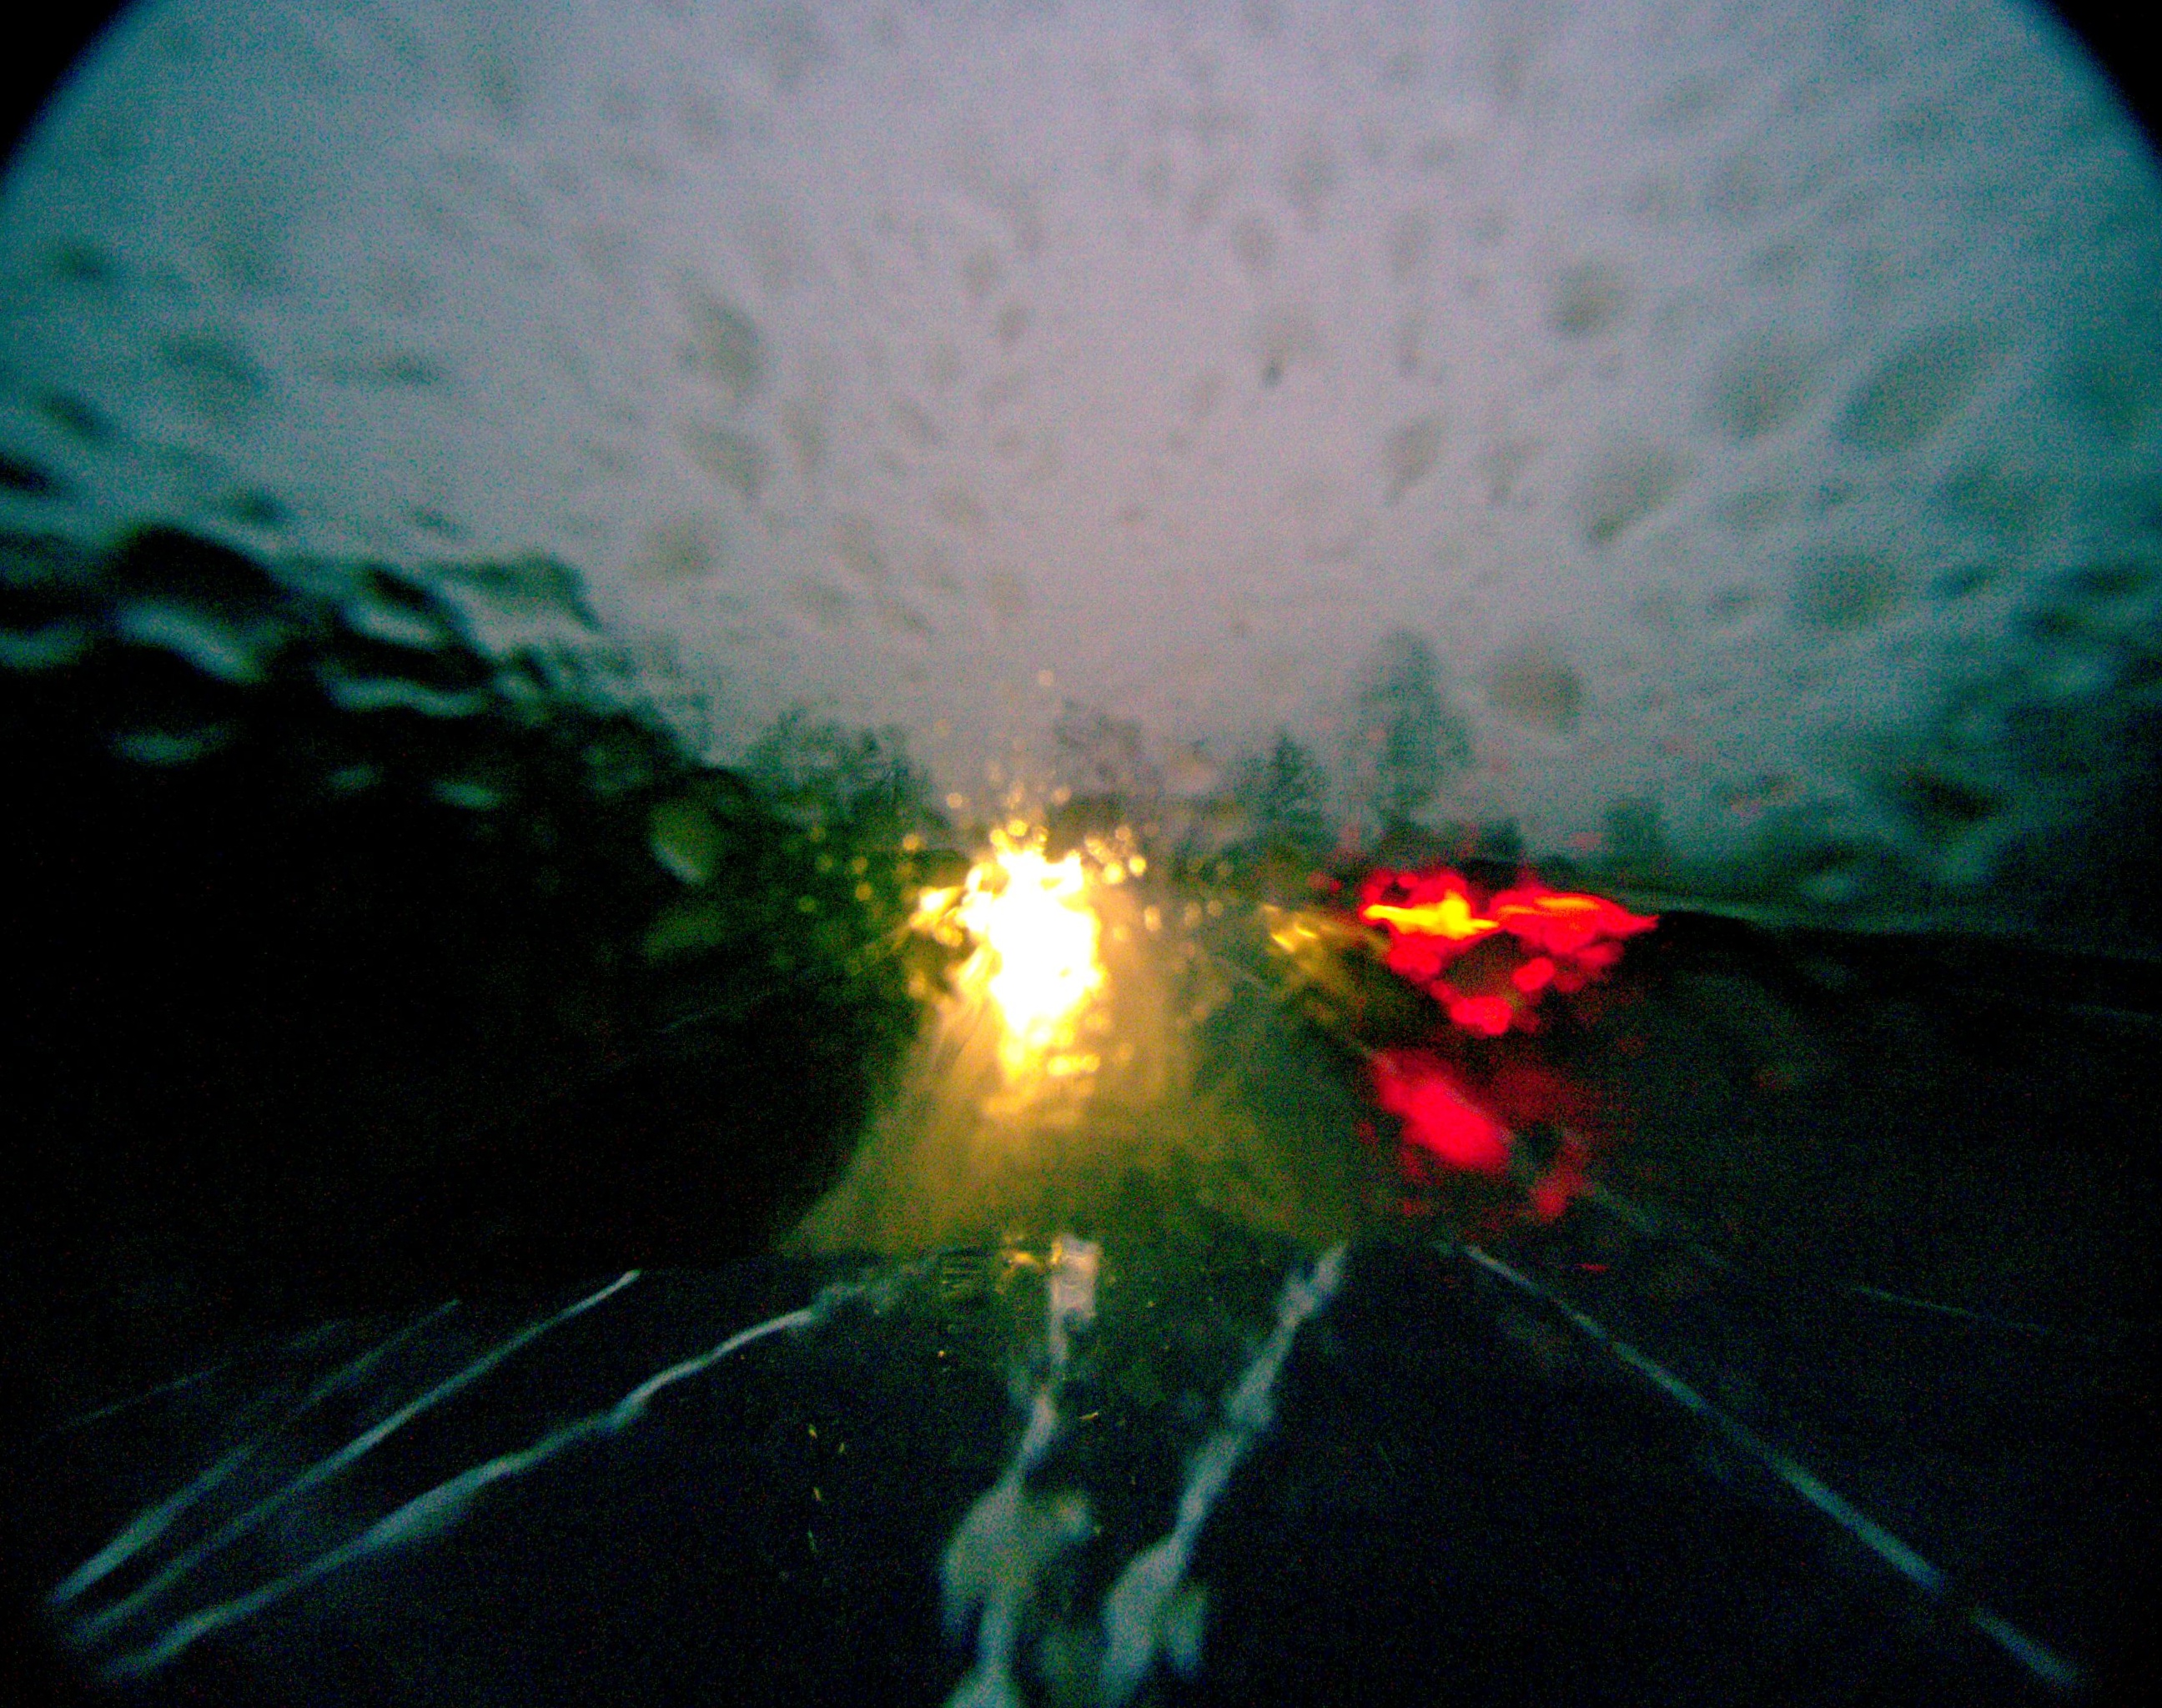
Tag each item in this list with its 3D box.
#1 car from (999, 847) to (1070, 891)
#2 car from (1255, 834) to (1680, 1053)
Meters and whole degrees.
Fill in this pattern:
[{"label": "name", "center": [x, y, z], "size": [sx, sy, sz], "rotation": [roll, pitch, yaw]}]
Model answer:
[{"label": "car", "center": [-1.915, 0.530, 29.683], "size": [2.104, 1.566, 4.794], "rotation": [1, 1, -11]}, {"label": "car", "center": [3.606, 0.653, 8.286], "size": [1.999, 1.612, 4.595], "rotation": [-3, 1, -4]}]
